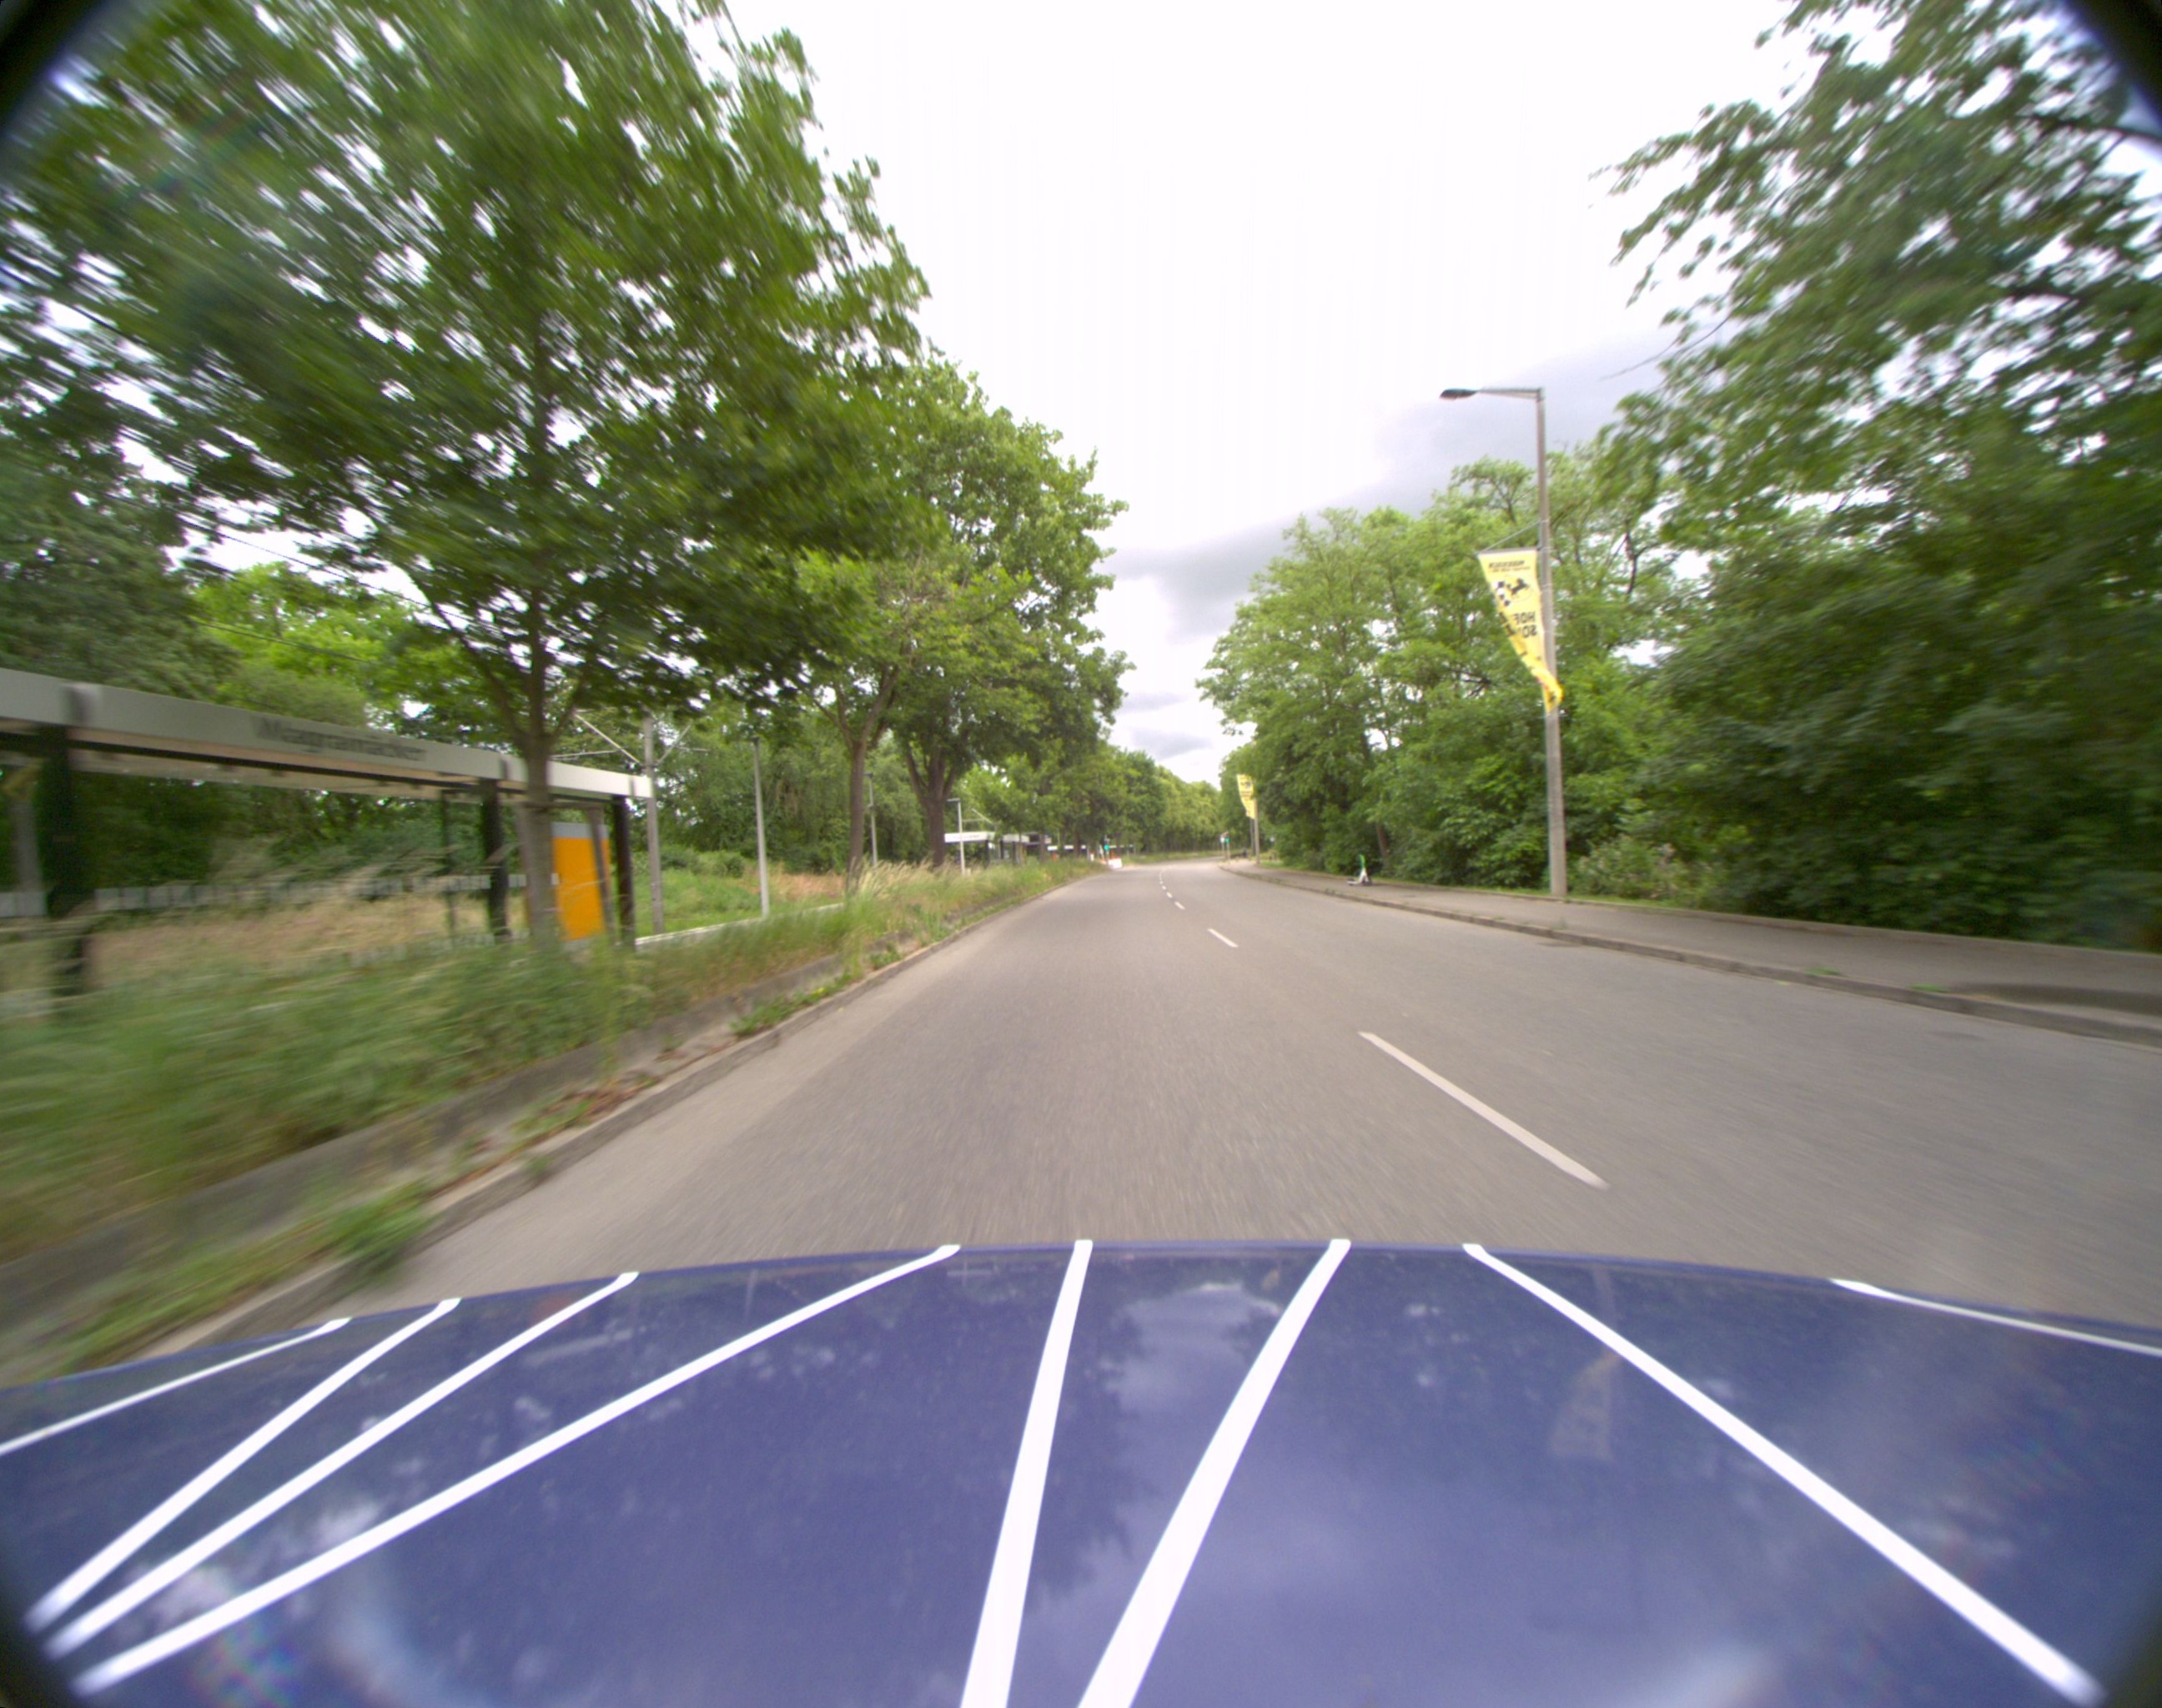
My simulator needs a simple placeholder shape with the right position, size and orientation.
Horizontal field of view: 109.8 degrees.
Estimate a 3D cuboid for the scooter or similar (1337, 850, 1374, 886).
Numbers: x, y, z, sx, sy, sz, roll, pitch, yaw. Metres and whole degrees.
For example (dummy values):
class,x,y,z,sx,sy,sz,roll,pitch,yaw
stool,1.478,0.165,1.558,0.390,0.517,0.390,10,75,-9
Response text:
class,x,y,z,sx,sy,sz,roll,pitch,yaw
scooter or similar,9.356,0.496,25.941,0.366,1.177,1.295,-4,0,-22
